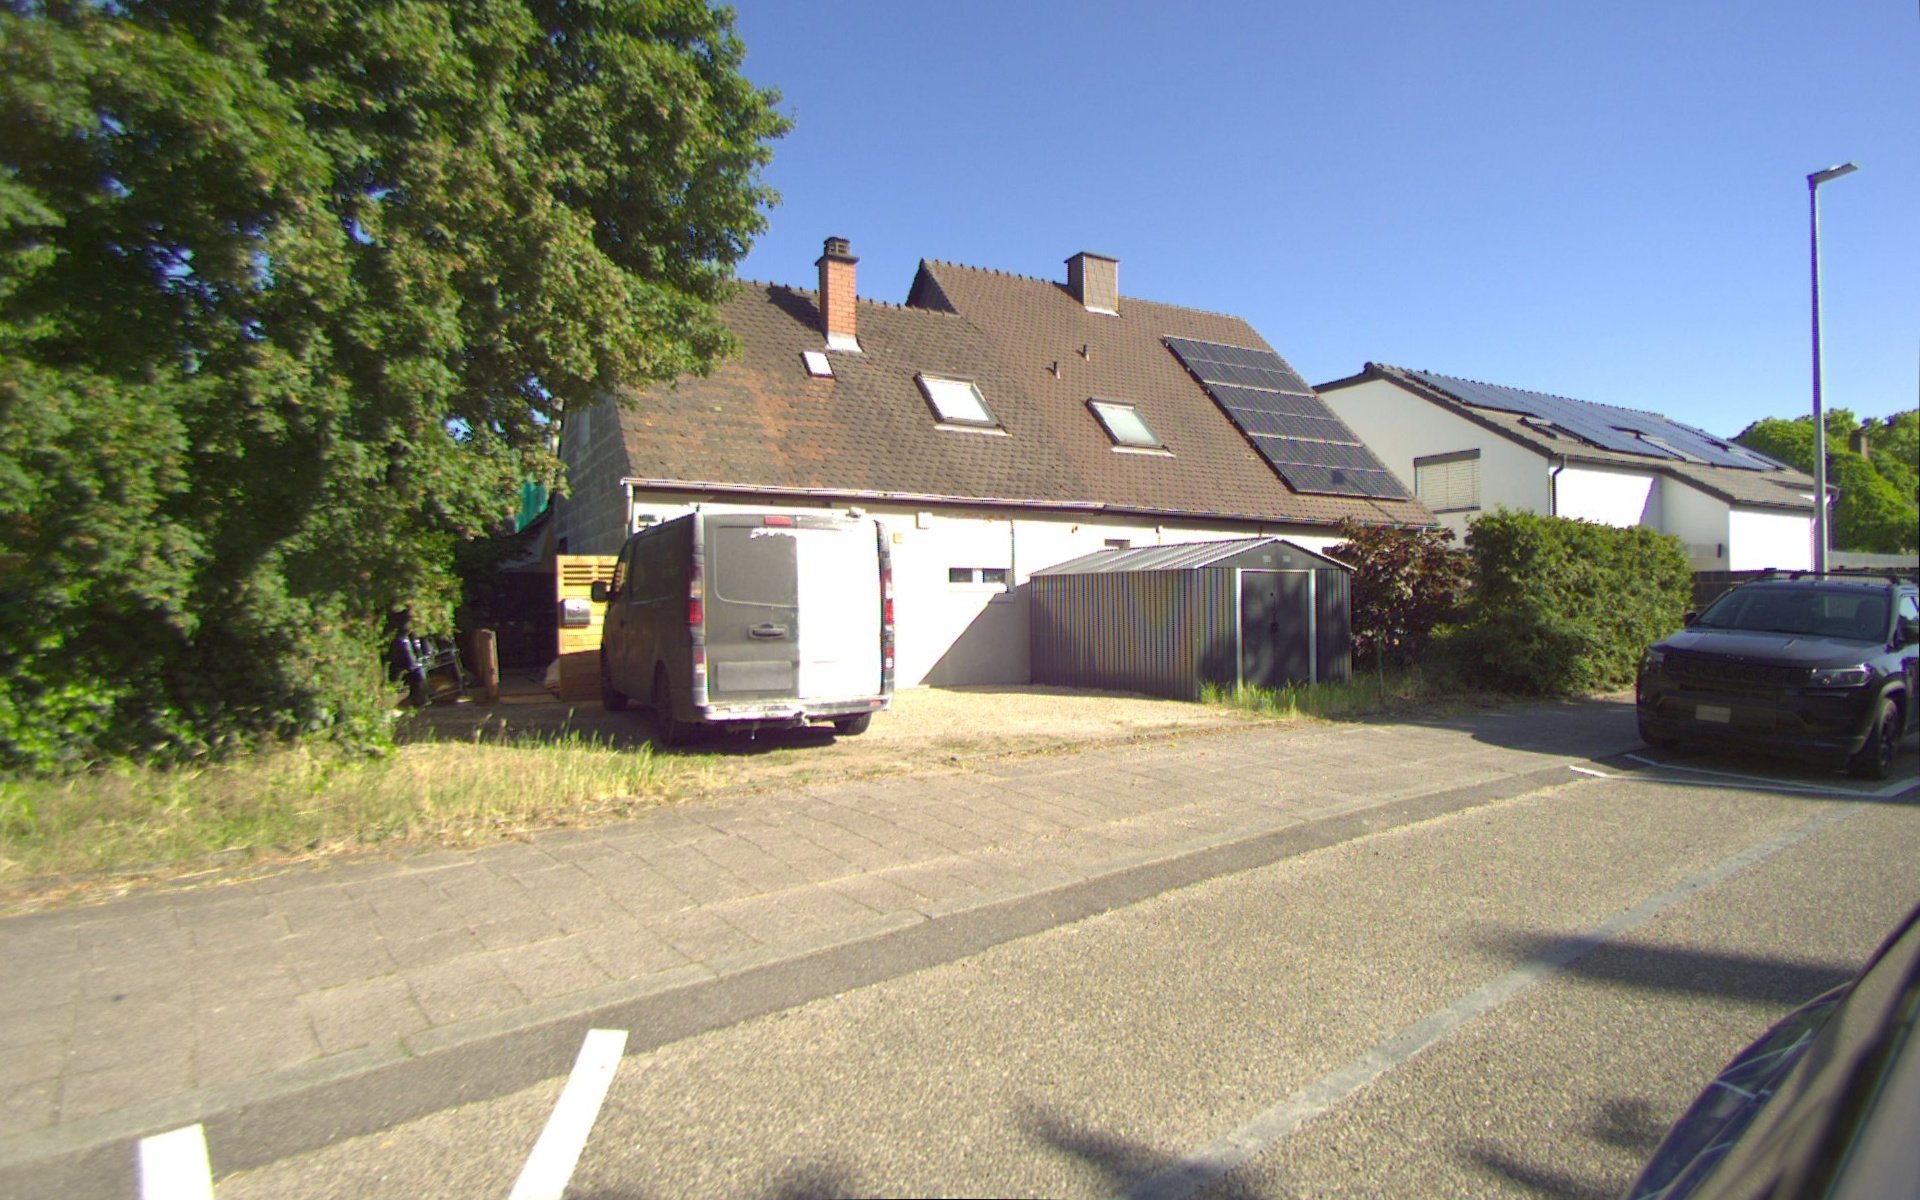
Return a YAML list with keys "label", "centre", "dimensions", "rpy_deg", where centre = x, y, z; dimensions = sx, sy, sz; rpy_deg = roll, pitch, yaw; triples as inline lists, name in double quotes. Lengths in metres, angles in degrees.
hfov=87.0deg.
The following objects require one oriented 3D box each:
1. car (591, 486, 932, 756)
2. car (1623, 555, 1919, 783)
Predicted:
- label: "car"
  centre: [-2.249, 0.117, 10.102]
  dimensions: [2.099, 2.008, 4.702]
  rpy_deg: [0, 1, -28]
- label: "car"
  centre: [8.296, 0.493, 9.684]
  dimensions: [4.211, 1.745, 1.784]
  rpy_deg: [-1, 1, -34]
